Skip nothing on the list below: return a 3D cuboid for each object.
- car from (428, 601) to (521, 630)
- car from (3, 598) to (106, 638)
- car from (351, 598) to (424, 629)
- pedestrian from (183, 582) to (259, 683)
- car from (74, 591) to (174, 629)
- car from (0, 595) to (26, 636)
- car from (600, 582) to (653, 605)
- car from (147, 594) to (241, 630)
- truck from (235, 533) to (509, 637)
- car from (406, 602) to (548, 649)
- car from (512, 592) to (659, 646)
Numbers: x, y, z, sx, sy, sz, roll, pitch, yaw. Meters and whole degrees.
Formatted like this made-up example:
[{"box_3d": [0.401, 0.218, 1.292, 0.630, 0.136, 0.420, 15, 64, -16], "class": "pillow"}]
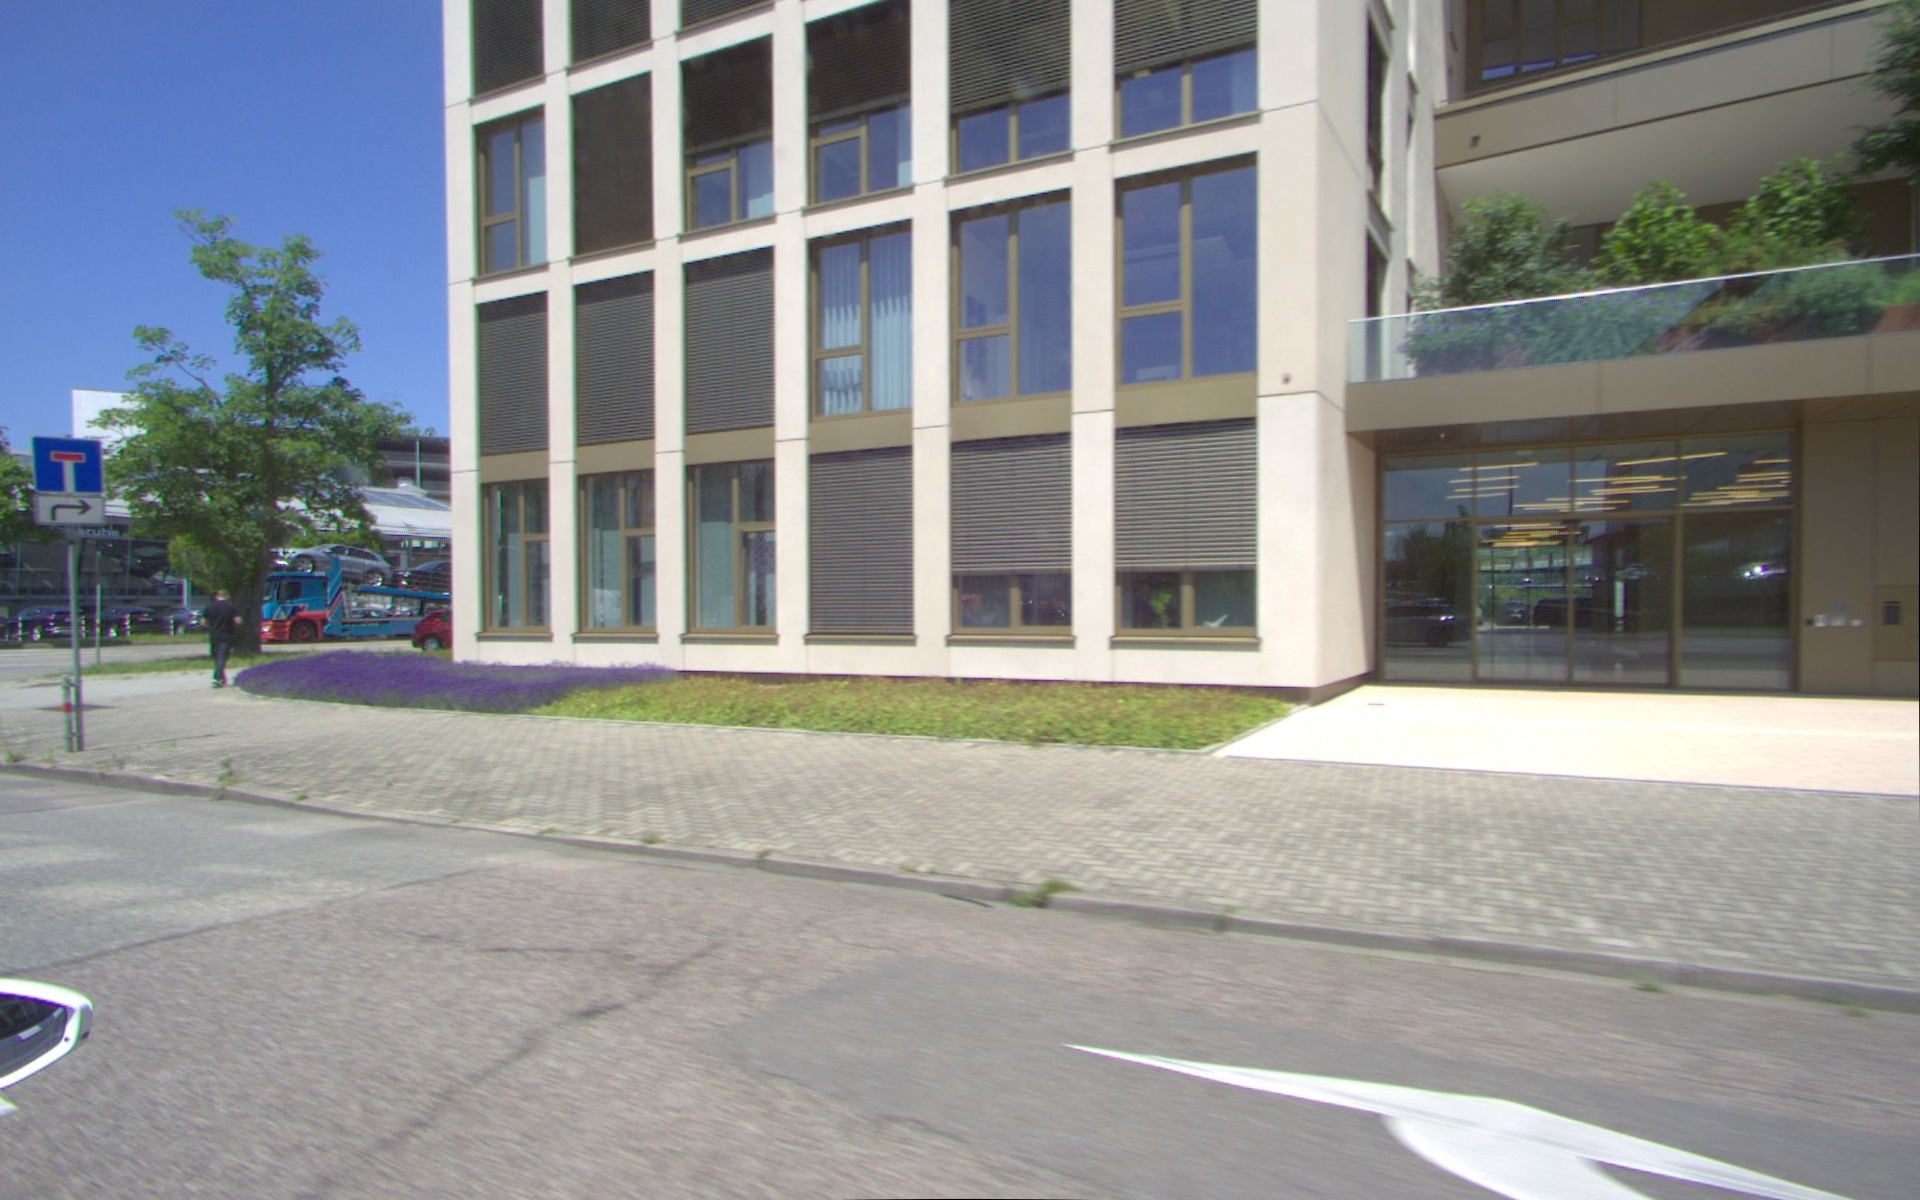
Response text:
[{"box_3d": [-28.913, 0.890, 59.702, 4.715, 1.661, 1.816, 0, 0, -42], "class": "car"}, {"box_3d": [-39.718, 0.764, 43.911, 4.401, 1.661, 1.827, 1, 0, 25], "class": "car"}, {"box_3d": [-34.469, 0.801, 60.317, 3.669, 1.801, 1.734, 0, 0, -38], "class": "car"}, {"box_3d": [-14.051, 0.595, 19.073, 0.758, 1.870, 0.868, -1, 1, -2], "class": "pedestrian"}, {"box_3d": [-38.671, 0.461, 46.320, 4.400, 1.661, 1.828, 1, 0, 24], "class": "car"}, {"box_3d": [-40.839, 0.612, 41.299, 4.450, 1.661, 1.885, 1, 0, 25], "class": "car"}, {"box_3d": [-29.676, -0.578, 89.098, 4.277, 2.040, 1.995, 0, 0, 23], "class": "car"}, {"box_3d": [-37.222, 0.565, 48.642, 4.401, 1.661, 1.827, 1, 0, 25], "class": "car"}, {"box_3d": [-25.963, -0.470, 45.098, 3.053, 4.135, 10.609, 0, -1, 29], "class": "truck"}, {"box_3d": [-15.594, 0.807, 32.526, 3.928, 1.454, 1.608, 0, 0, -16], "class": "car"}, {"box_3d": [-13.324, 0.646, 35.927, 4.820, 1.839, 1.702, 0, 0, -17], "class": "car"}]
